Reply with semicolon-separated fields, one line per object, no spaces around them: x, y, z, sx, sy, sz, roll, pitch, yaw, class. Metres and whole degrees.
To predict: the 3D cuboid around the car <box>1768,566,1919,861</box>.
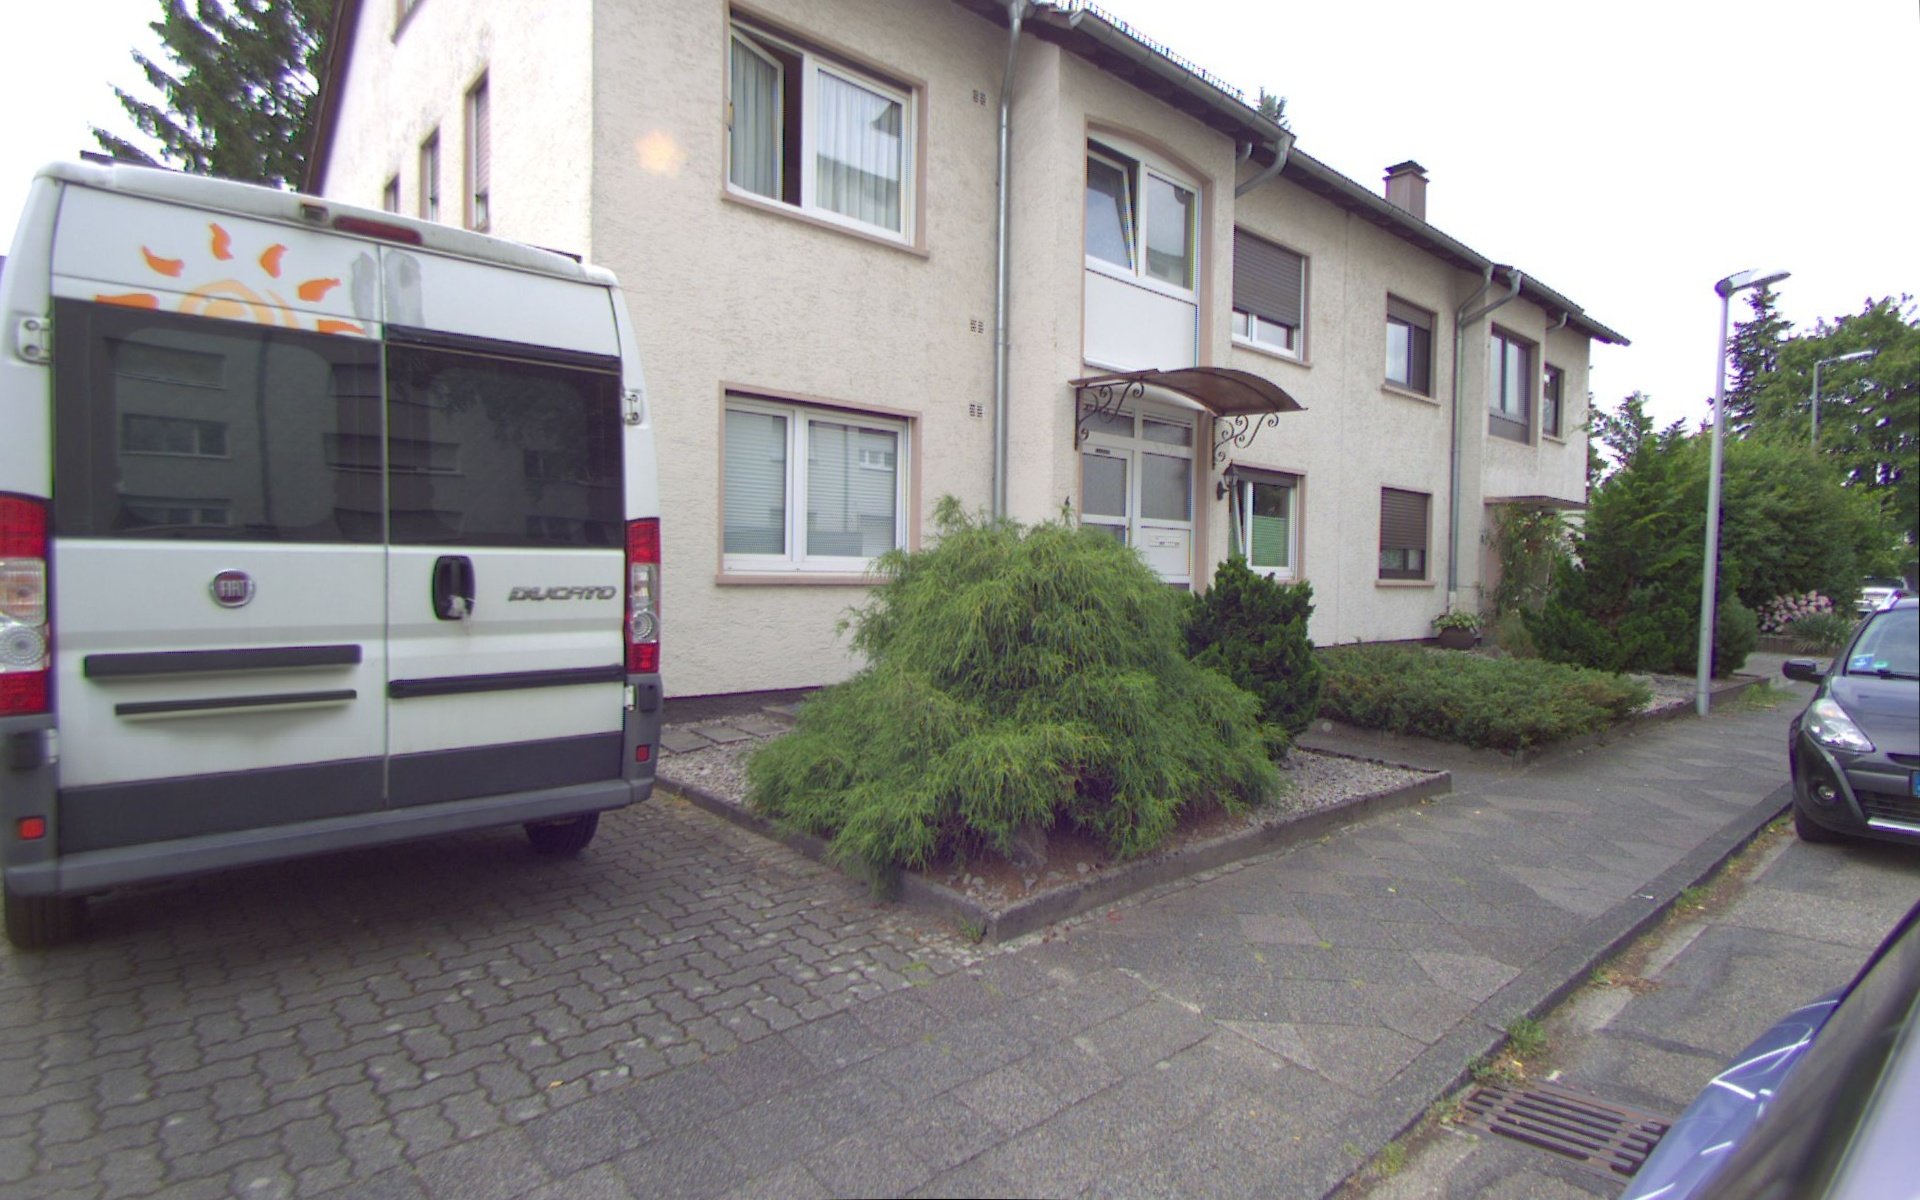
6.487;0.547;6.259;4.121;1.476;1.831;-1;1;-44;car

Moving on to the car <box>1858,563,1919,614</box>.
30.624;-0.412;33.034;3.936;1.484;1.702;-3;4;-45;car

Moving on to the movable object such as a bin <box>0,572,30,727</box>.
-6.987;0.347;7.195;0.537;1.069;0.456;-1;4;-42;movable object such as a bin

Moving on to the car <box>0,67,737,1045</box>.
-3.404;-0.248;5.285;2.199;2.573;5.099;0;3;-41;car
